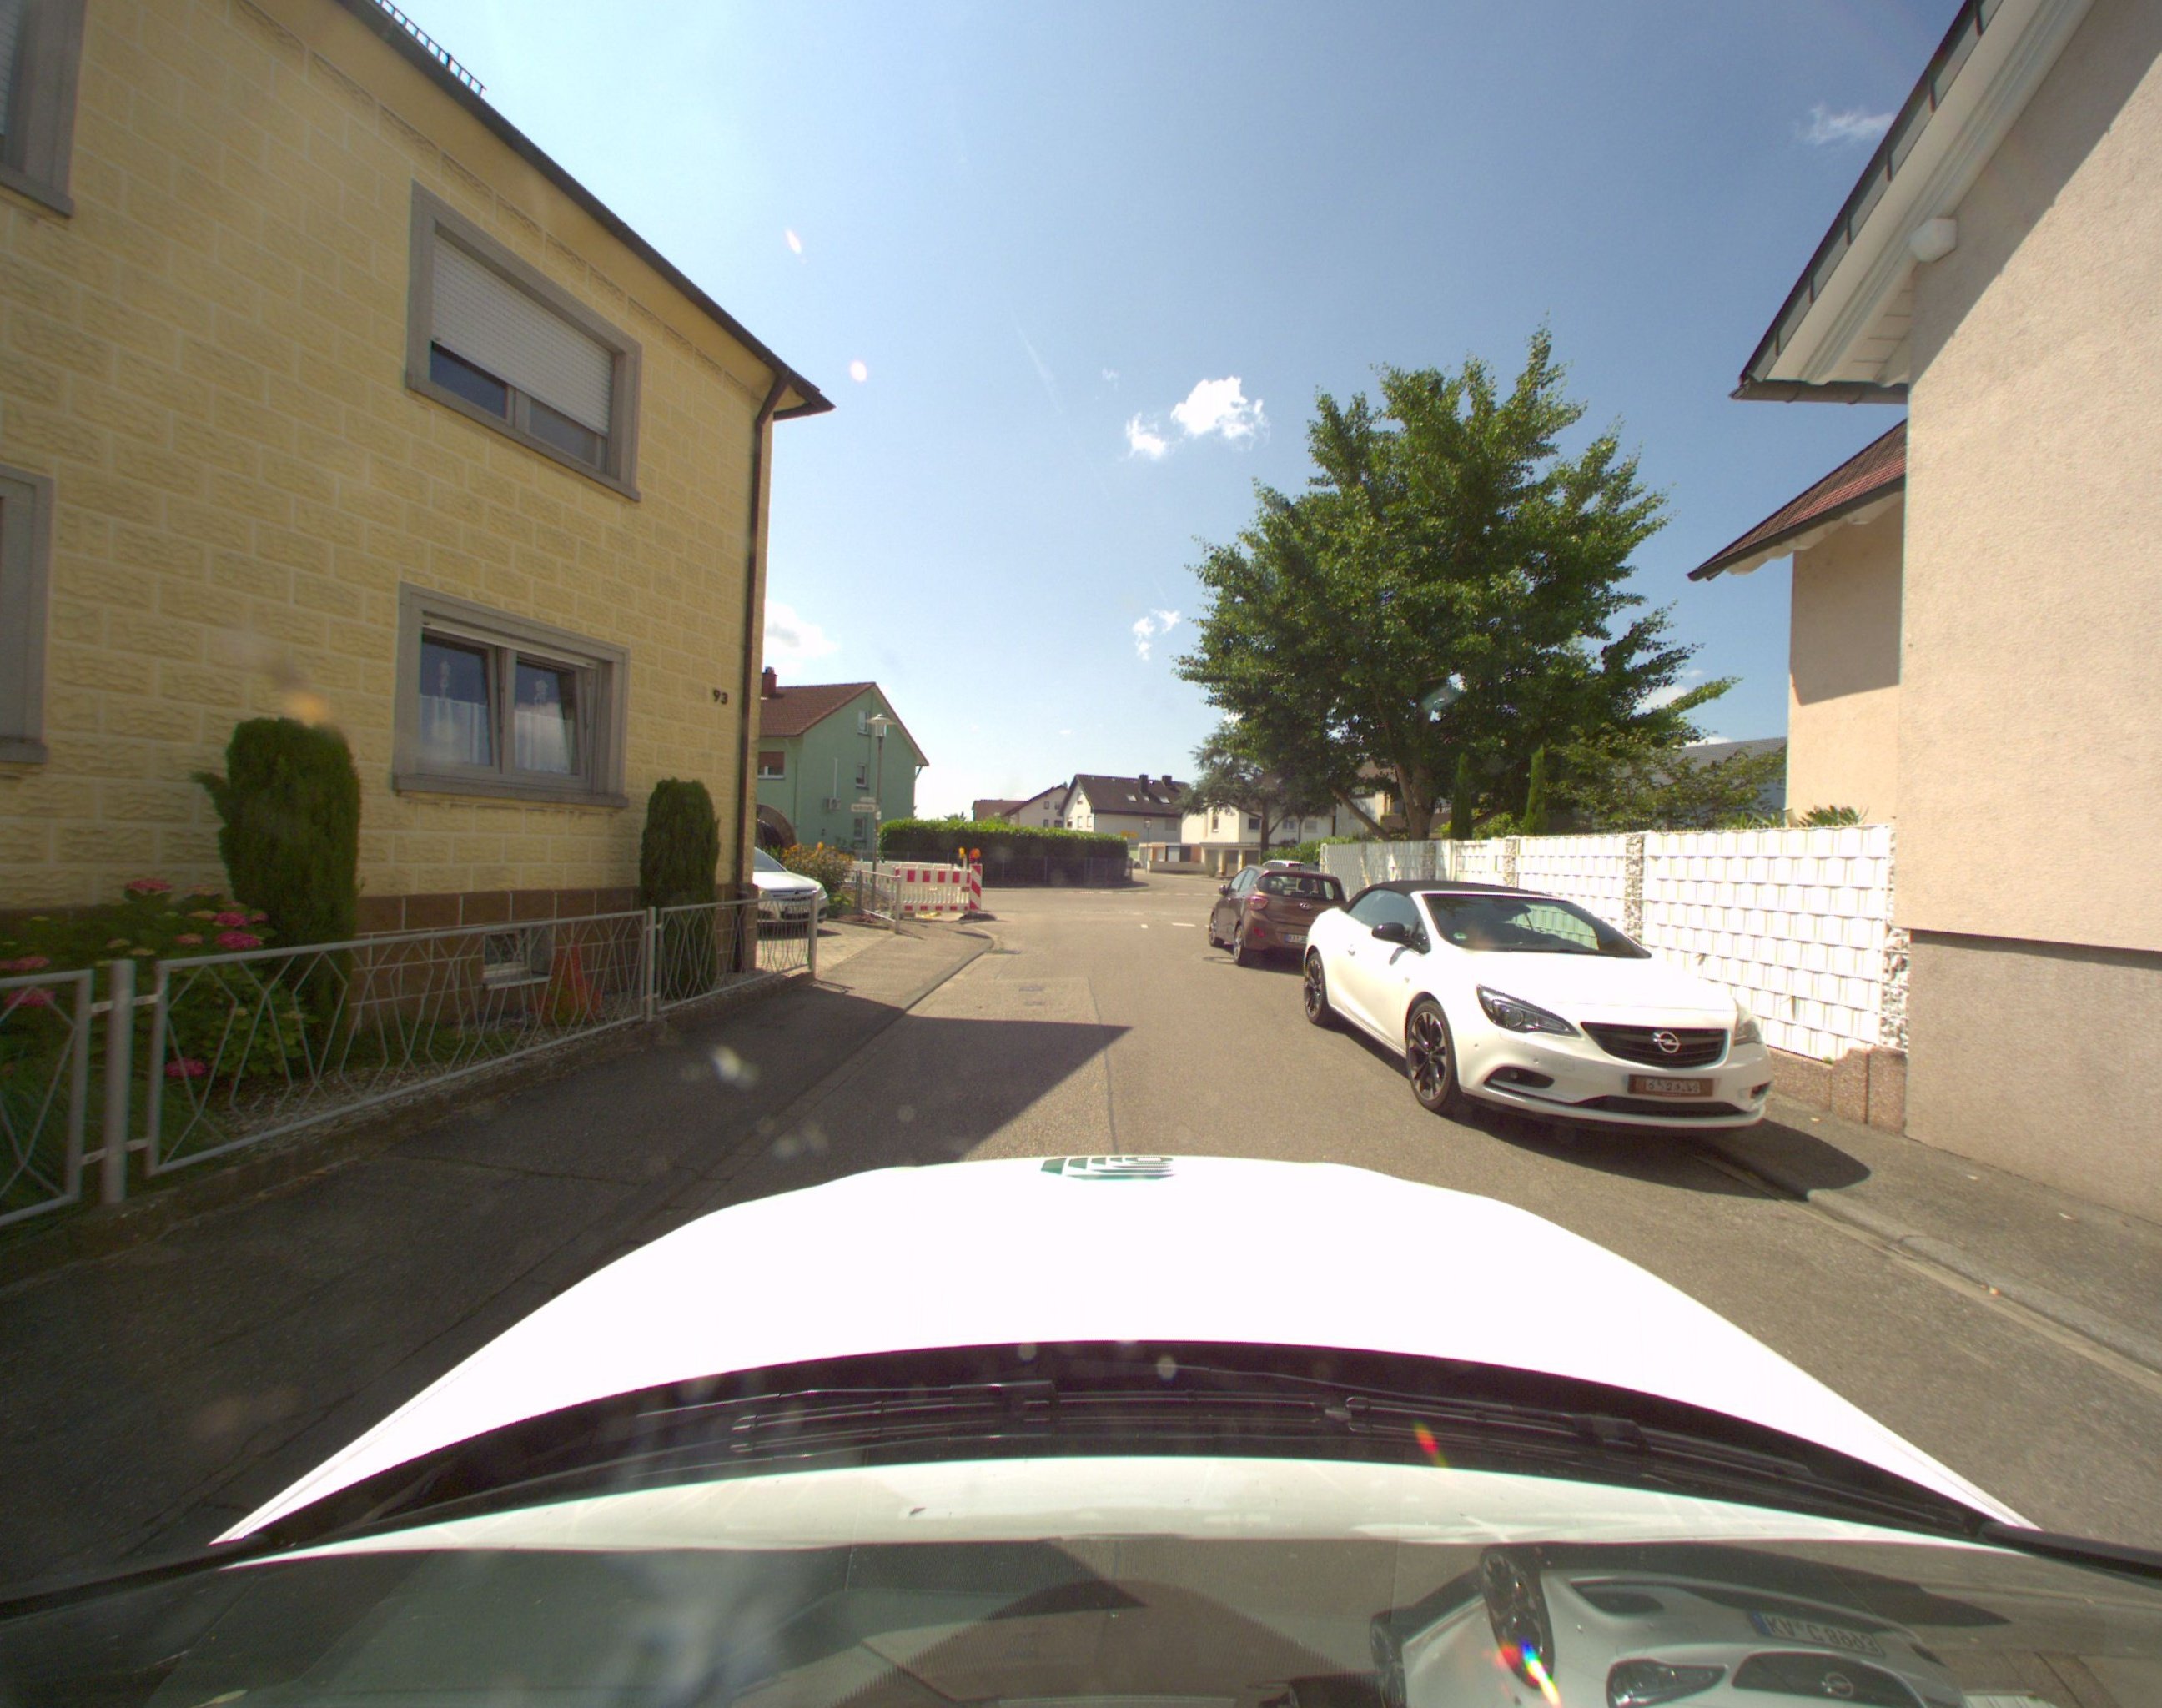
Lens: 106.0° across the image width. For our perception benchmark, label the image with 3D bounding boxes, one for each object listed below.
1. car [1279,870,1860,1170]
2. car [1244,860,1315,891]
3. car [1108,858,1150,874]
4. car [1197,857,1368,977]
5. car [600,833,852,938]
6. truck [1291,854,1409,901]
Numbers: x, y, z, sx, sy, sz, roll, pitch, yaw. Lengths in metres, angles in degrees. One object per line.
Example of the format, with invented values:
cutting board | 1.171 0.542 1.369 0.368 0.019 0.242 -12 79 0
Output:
car | 3.152 0.920 6.655 1.889 1.428 4.736 3 0 0
car | 11.275 1.188 46.448 1.805 1.563 4.112 3 0 -23
car | 4.688 1.139 79.483 3.612 1.408 1.772 2 0 -21
car | 3.122 0.890 13.453 1.707 1.532 4.034 6 0 0
car | -6.192 0.463 14.060 4.416 1.485 1.803 2 0 33
truck | 13.164 1.105 40.313 2.374 2.013 5.669 2 0 -23
